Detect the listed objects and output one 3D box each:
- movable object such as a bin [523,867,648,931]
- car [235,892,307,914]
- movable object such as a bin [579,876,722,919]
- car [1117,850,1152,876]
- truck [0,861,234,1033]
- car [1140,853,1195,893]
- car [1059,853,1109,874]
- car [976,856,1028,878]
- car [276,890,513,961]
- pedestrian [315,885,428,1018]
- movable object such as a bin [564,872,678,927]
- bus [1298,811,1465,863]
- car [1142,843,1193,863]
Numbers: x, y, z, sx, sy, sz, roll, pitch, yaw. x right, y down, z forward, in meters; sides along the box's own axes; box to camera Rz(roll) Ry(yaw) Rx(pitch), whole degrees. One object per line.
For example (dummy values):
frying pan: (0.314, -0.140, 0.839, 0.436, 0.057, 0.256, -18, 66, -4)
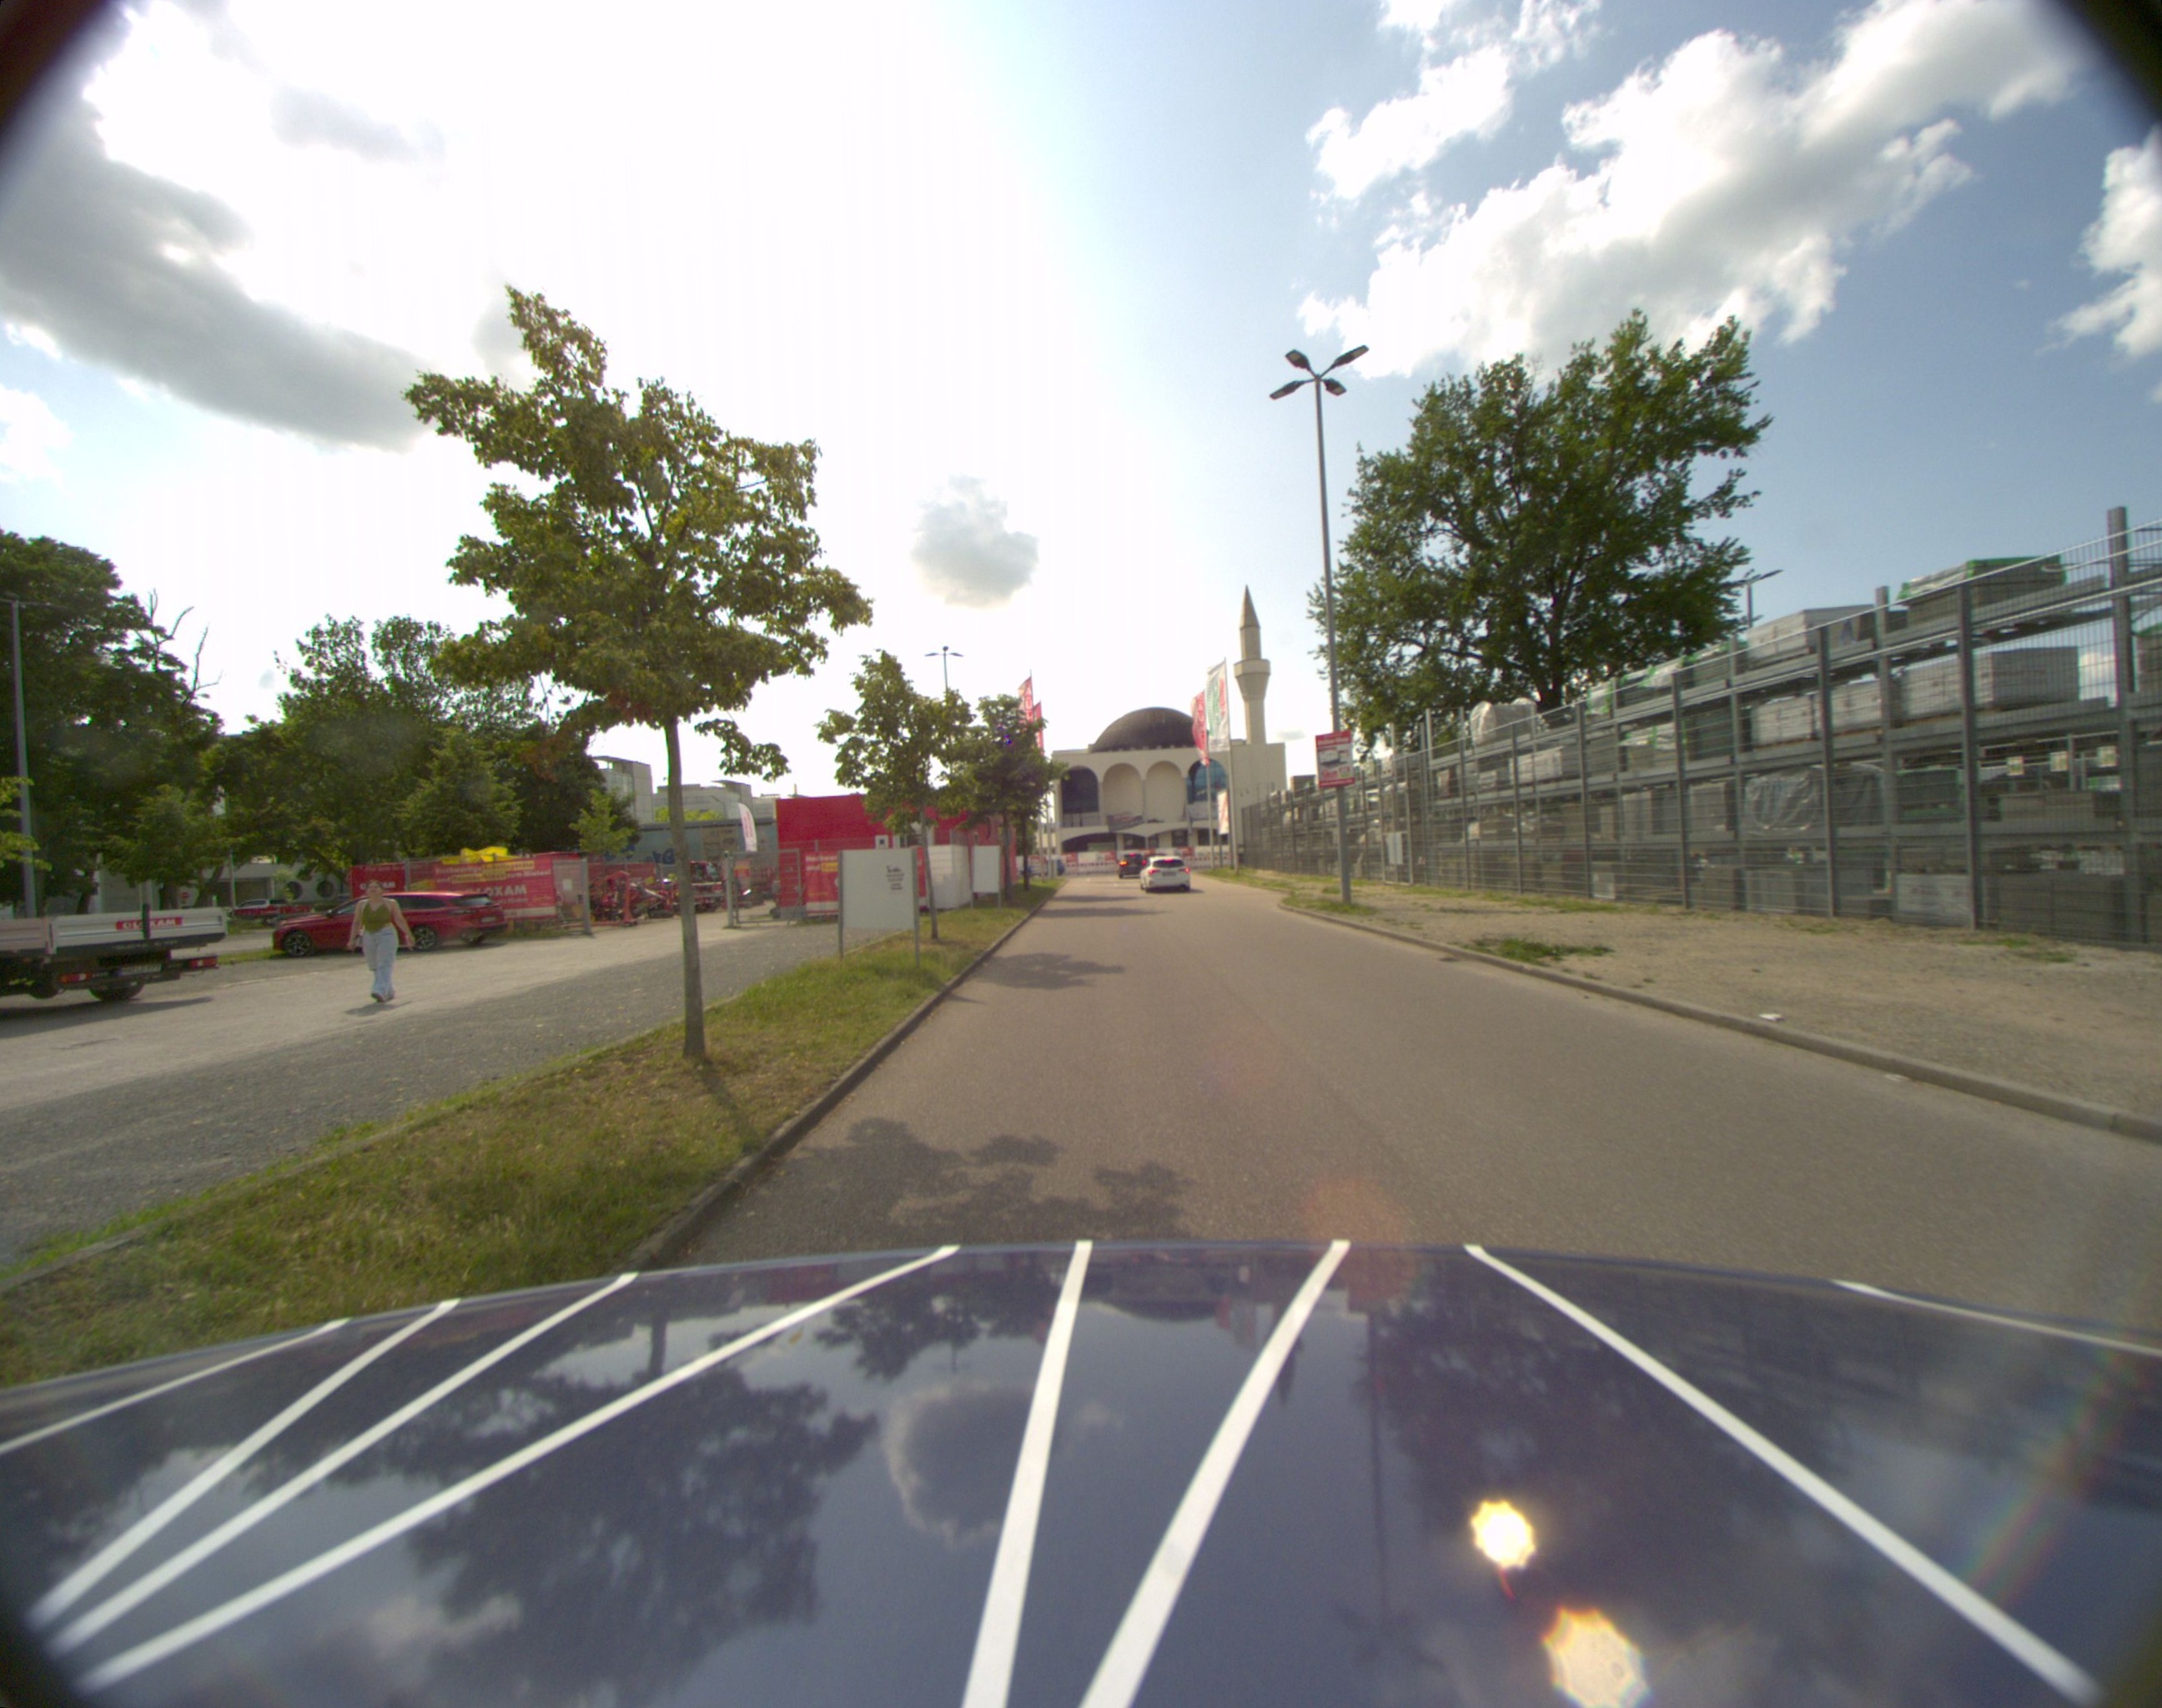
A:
movable object such as a bin: (-15.789, 1.413, 24.315, 3.010, 1.833, 1.389, -3, 0, 1)
car: (-71.011, 4.291, 66.658, 3.998, 1.574, 1.999, -3, 0, -3)
movable object such as a bin: (-16.328, 1.641, 29.052, 3.583, 1.370, 3.085, -2, 0, 5)
car: (3.531, 0.582, 50.712, 1.920, 1.608, 4.373, -2, 0, 0)
truck: (-16.661, 1.356, 11.115, 5.860, 2.242, 2.173, -2, 0, -2)
car: (3.537, 0.741, 31.820, 1.808, 1.456, 4.329, -3, 0, 1)
car: (0.283, 0.800, 65.315, 4.192, 1.505, 1.697, -3, 0, 2)
car: (-6.431, 1.033, 62.377, 3.997, 1.636, 1.907, -2, 0, -1)
car: (-16.738, 1.721, 18.691, 4.144, 1.406, 1.617, -2, 1, -4)
pedestrian: (-9.728, 1.306, 10.448, 0.600, 1.682, 0.879, -2, 2, 3)
movable object such as a bin: (-15.885, 1.555, 26.332, 3.010, 1.660, 1.389, -3, 0, 1)
bus: (22.949, -1.292, 58.563, 11.558, 3.345, 2.893, -3, 1, 2)
car: (7.394, -0.110, 65.226, 4.190, 1.501, 1.792, -3, 0, 2)
